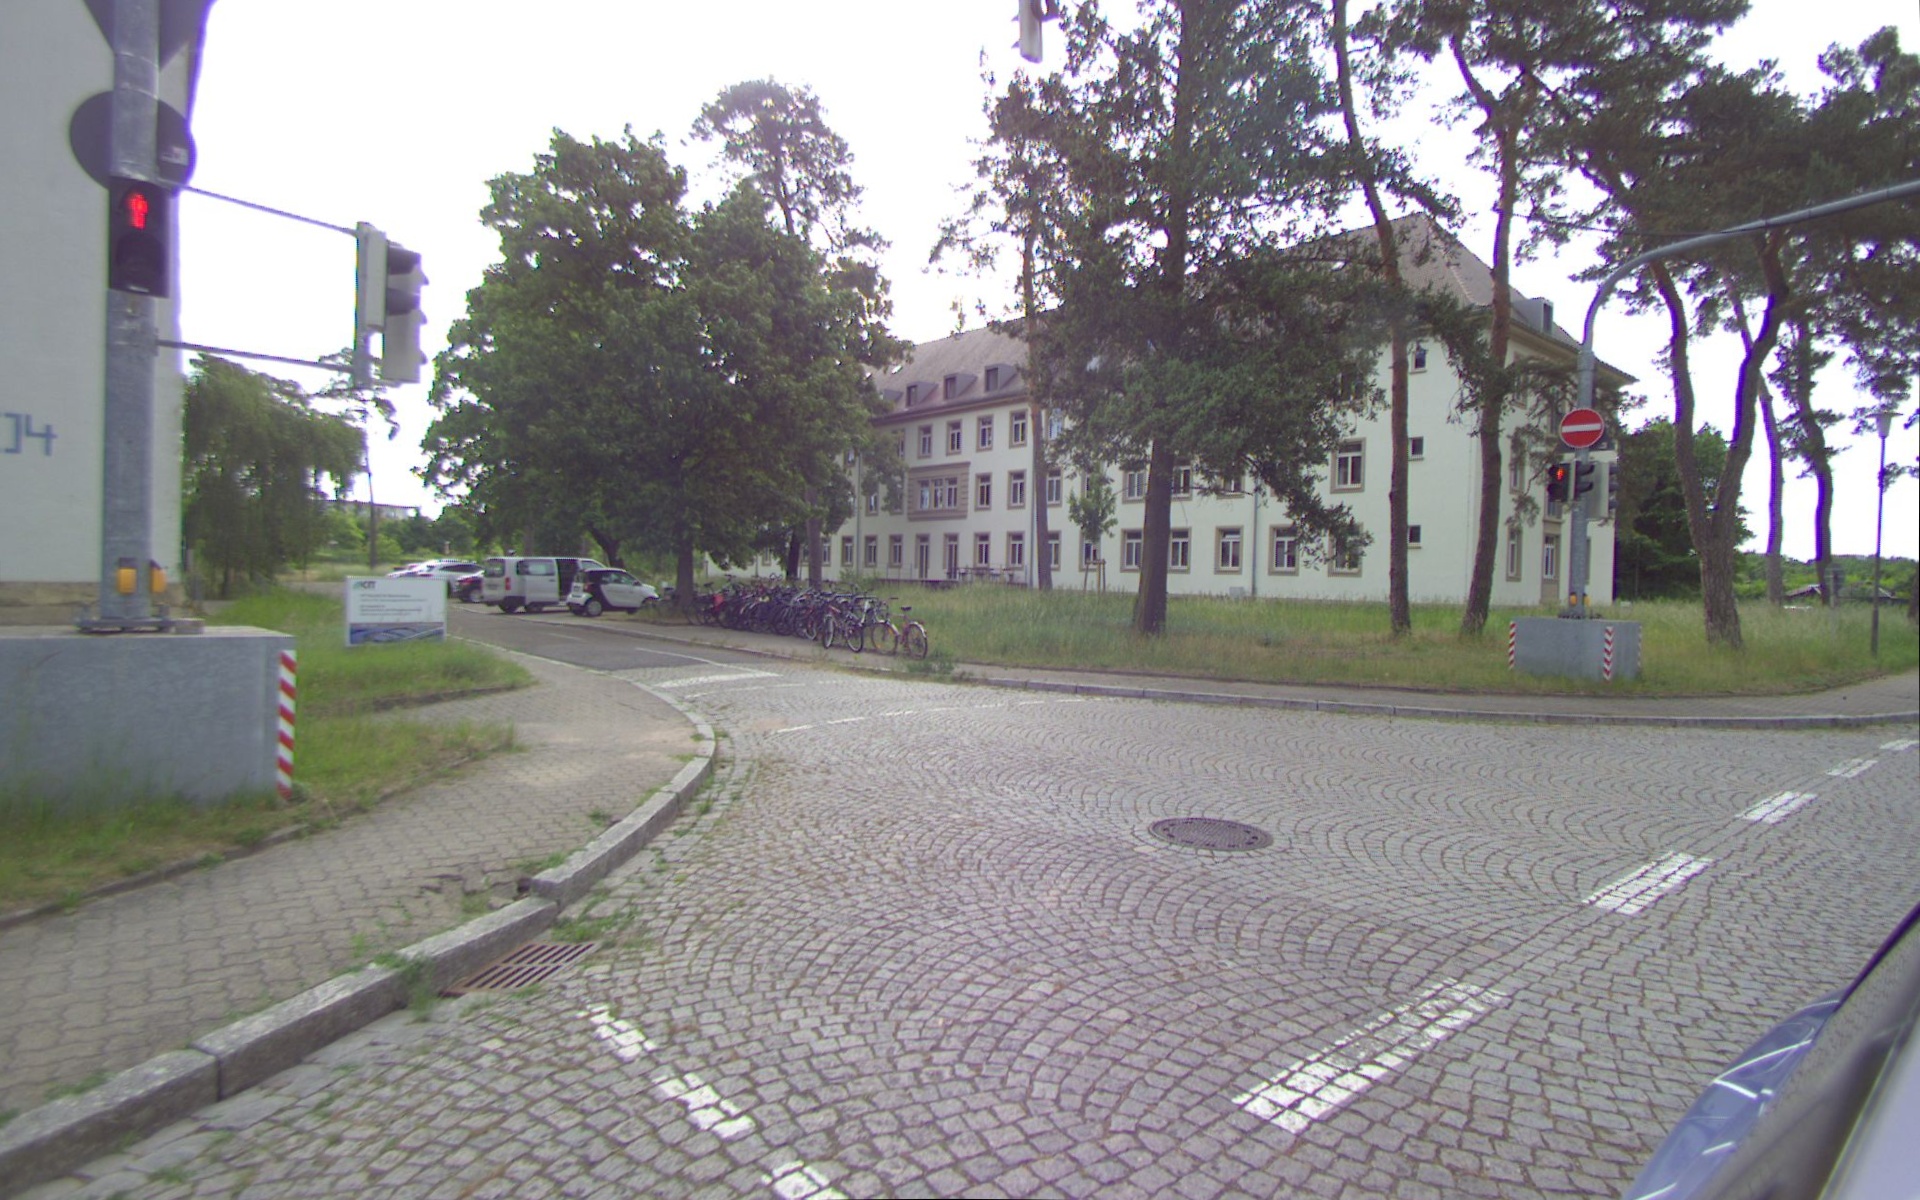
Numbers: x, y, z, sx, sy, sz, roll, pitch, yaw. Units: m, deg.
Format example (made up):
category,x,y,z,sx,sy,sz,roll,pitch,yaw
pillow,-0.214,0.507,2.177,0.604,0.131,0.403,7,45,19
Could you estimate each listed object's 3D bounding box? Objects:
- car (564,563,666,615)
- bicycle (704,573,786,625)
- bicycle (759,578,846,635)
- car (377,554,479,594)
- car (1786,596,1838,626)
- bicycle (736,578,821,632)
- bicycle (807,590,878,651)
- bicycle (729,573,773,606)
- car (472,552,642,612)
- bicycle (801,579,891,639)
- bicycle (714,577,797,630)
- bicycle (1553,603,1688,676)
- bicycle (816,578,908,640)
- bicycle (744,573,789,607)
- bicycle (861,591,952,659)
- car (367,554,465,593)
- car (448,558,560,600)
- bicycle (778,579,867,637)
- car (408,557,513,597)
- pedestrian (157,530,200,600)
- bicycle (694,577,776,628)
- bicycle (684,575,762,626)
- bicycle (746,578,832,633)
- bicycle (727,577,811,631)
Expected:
category,x,y,z,sx,sy,sz,roll,pitch,yaw
car,-11.269,-0.387,33.112,2.807,1.577,1.470,-1,3,-41
bicycle,-5.438,-0.012,25.677,1.954,1.263,0.623,2,0,-42
bicycle,-3.651,0.162,23.594,1.954,1.263,0.623,2,0,-42
car,-25.246,-1.233,48.088,3.974,1.822,1.678,0,1,-41
car,44.213,0.577,52.479,3.137,1.455,1.487,2,0,-39
bicycle,-4.383,0.130,24.490,1.954,1.263,0.623,2,0,-42
bicycle,-2.307,0.386,19.719,0.612,1.096,1.677,2,0,-36
bicycle,-7.533,-0.378,36.490,1.526,1.139,0.401,1,1,-39
car,-13.963,-0.657,35.375,2.136,1.939,5.255,2,2,35
bicycle,-2.487,0.212,22.244,1.954,1.263,0.623,2,0,-42
bicycle,-5.092,0.099,25.300,1.954,1.263,0.623,2,0,-42
bicycle,10.518,0.595,16.172,0.571,0.981,1.678,-2,4,-36
bicycle,-2.080,0.198,21.765,1.954,1.263,0.623,2,0,-42
bicycle,-6.797,-0.342,35.503,1.526,1.139,0.401,1,1,-39
bicycle,-0.994,0.427,18.273,0.612,1.127,1.988,2,0,-37
car,-26.851,-1.303,50.025,3.974,1.822,1.678,0,1,-41
car,-18.880,-0.844,41.970,3.970,1.641,1.680,0,1,-37
bicycle,-3.096,0.186,22.940,1.954,1.263,0.623,2,0,-42
car,-22.732,-1.044,46.121,3.974,1.740,1.678,0,1,-41
pedestrian,-20.695,-0.919,26.818,0.824,1.803,0.941,1,1,-35
bicycle,-5.772,0.070,26.043,1.954,1.263,0.623,2,0,-42
bicycle,-6.197,-0.013,26.545,1.955,1.263,0.623,-2,2,-42
bicycle,-4.056,0.144,24.080,1.954,1.263,0.623,2,0,-42
bicycle,-4.657,0.118,24.734,1.954,1.263,0.623,2,0,-42
